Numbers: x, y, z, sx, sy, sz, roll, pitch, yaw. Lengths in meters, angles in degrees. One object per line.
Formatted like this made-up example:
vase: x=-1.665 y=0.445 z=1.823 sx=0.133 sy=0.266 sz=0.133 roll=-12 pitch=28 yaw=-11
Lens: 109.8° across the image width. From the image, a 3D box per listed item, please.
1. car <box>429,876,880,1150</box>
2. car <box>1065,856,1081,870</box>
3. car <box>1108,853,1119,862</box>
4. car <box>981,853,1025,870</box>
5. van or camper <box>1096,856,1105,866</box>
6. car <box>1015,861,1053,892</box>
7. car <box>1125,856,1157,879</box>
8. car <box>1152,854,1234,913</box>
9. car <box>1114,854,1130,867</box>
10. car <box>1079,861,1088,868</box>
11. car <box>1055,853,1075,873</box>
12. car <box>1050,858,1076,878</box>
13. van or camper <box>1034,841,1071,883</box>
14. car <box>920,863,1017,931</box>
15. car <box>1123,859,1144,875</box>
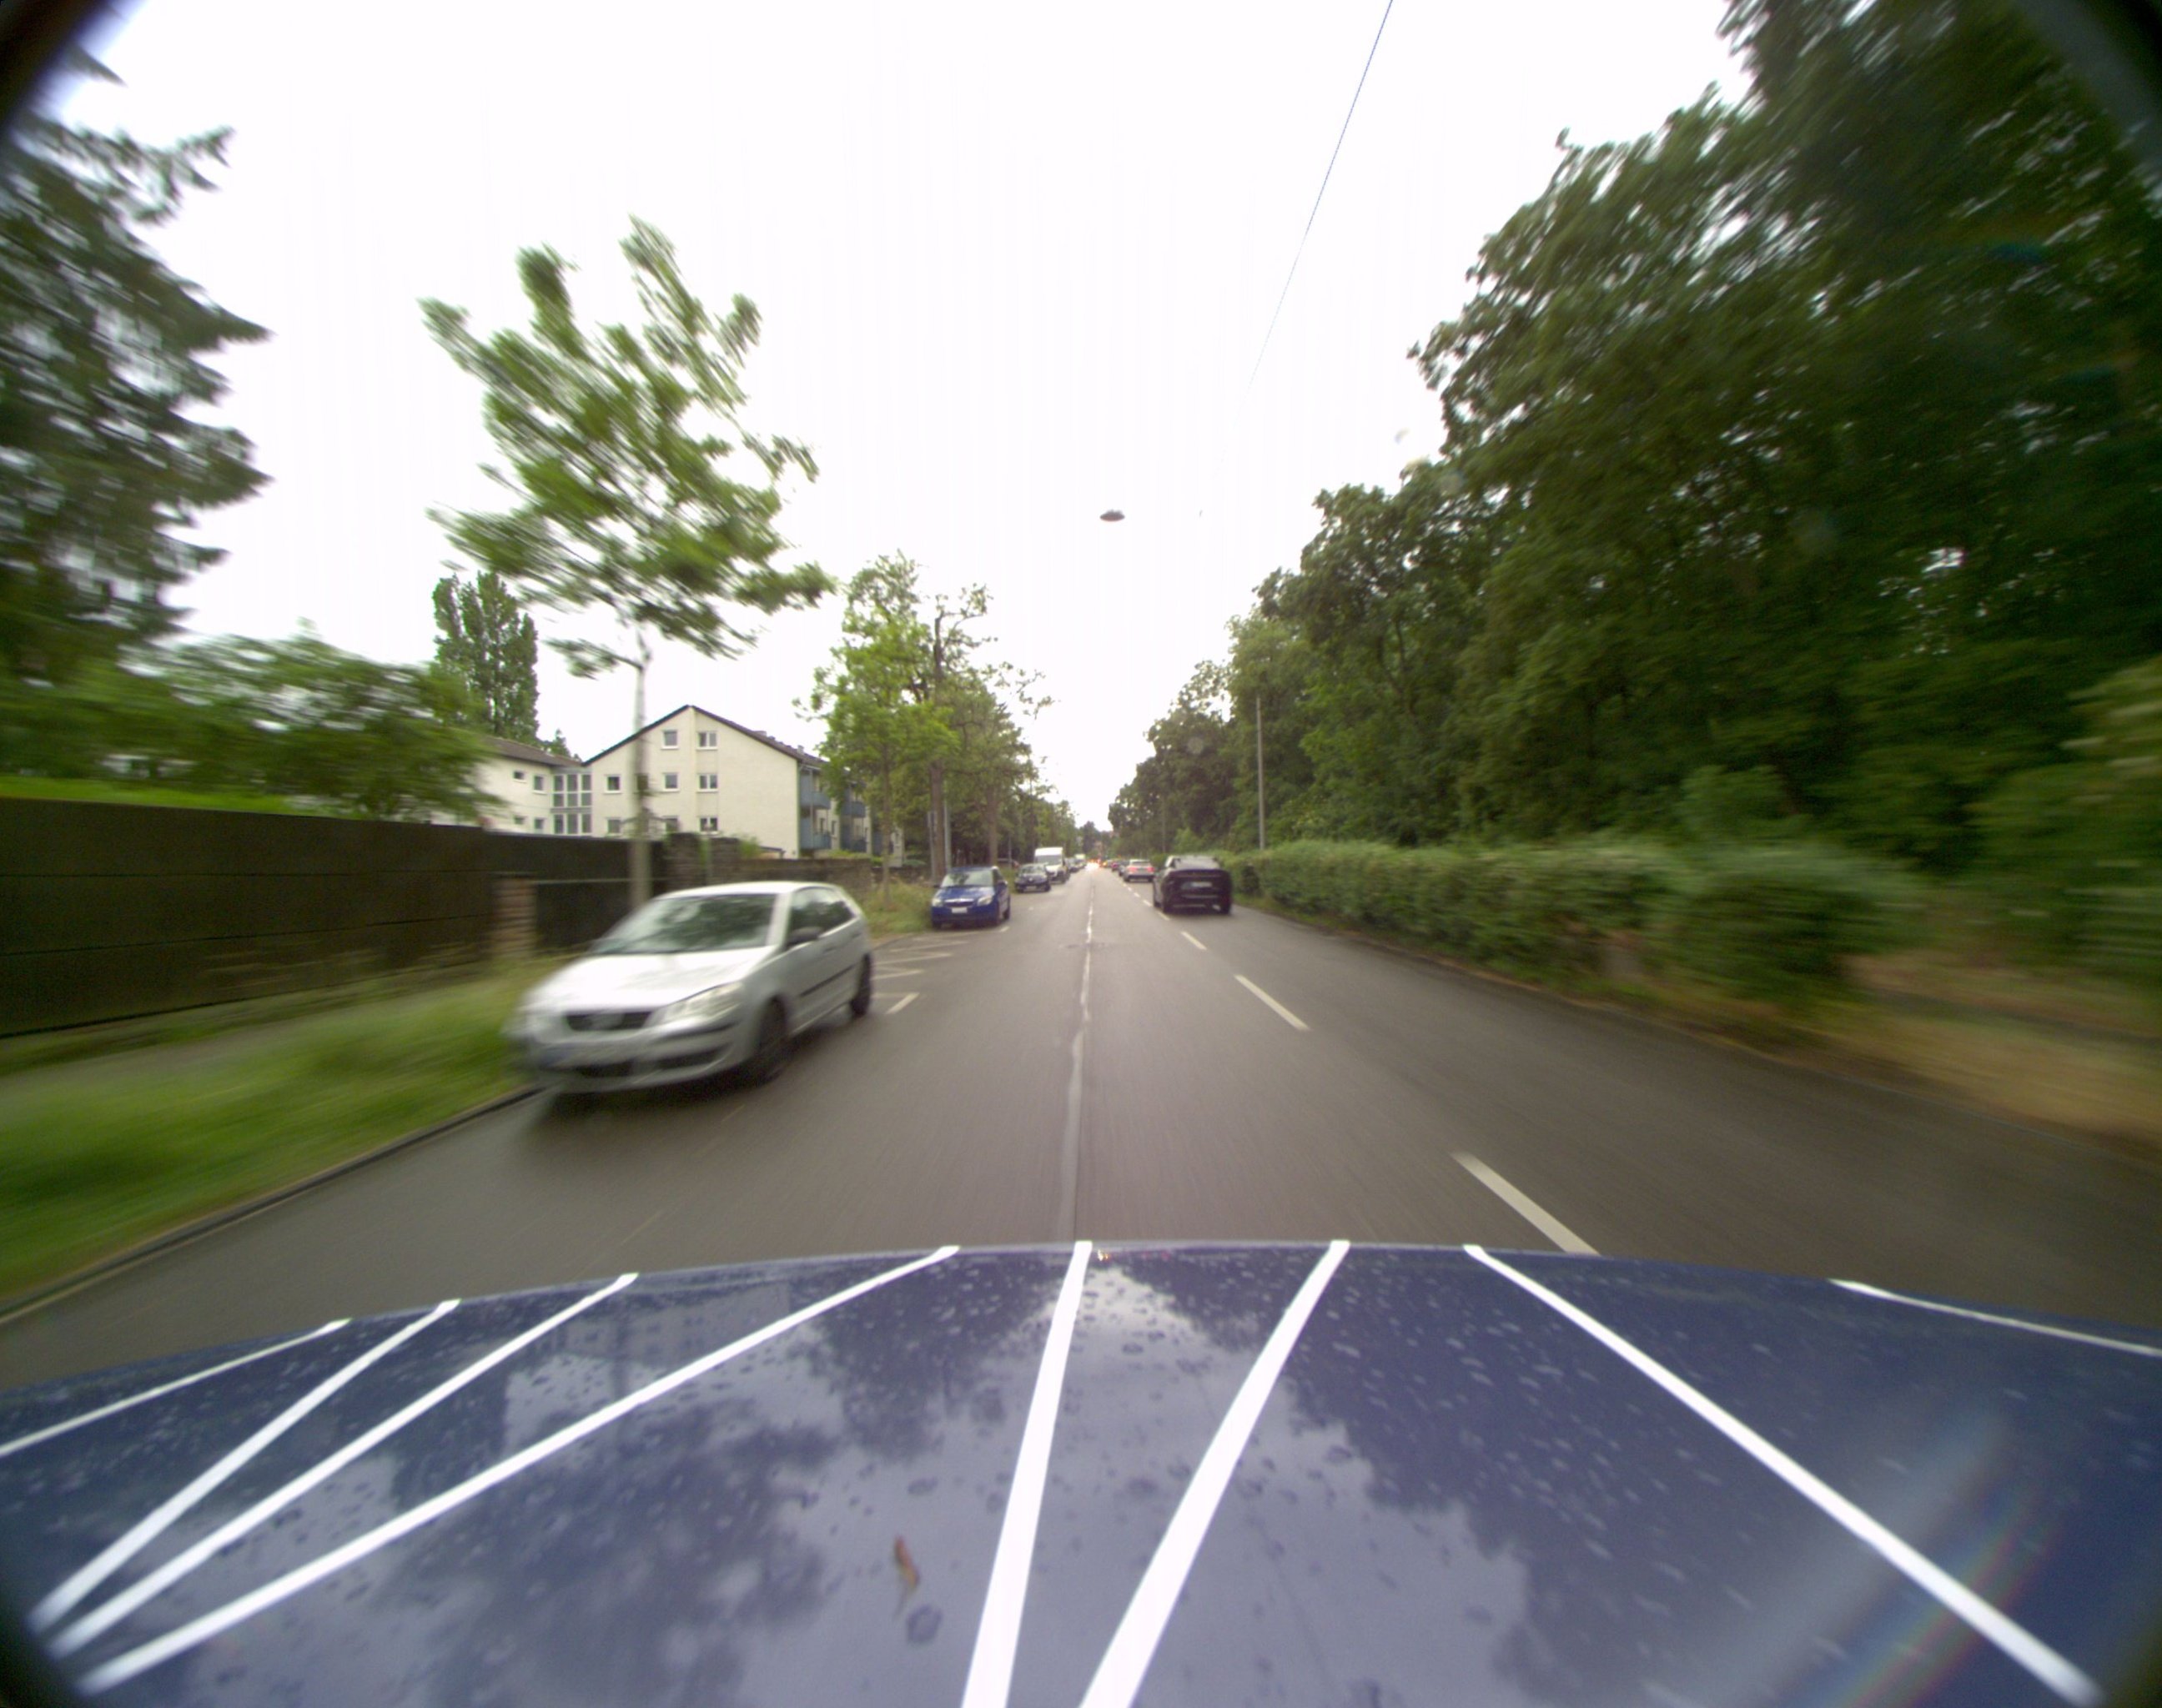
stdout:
car: x=-3.060 y=1.008 z=6.469 sx=1.622 sy=1.499 sz=3.835 roll=-3 pitch=-1 yaw=0
car: x=-1.043 y=1.169 z=96.556 sx=1.778 sy=1.712 sz=4.327 roll=-3 pitch=-1 yaw=2
car: x=5.829 y=0.599 z=136.326 sx=1.788 sy=1.471 sz=3.967 roll=-1 pitch=1 yaw=1
car: x=-8.158 y=0.749 z=79.913 sx=4.319 sy=1.672 sz=2.000 roll=1 pitch=1 yaw=2
van or camper: x=6.637 y=2.246 z=258.115 sx=2.862 sy=3.159 sz=6.852 roll=-3 pitch=-1 yaw=3
car: x=-2.430 y=1.155 z=40.141 sx=1.745 sy=1.470 sz=3.964 roll=-3 pitch=-1 yaw=-1
car: x=3.926 y=0.892 z=50.090 sx=1.860 sy=1.459 sz=4.447 roll=1 pitch=-1 yaw=2
car: x=3.148 y=0.809 z=22.119 sx=1.808 sy=1.537 sz=4.432 roll=0 pitch=-1 yaw=1
car: x=5.075 y=0.822 z=94.166 sx=1.734 sy=1.483 sz=4.001 roll=0 pitch=-1 yaw=1
car: x=0.486 y=2.124 z=150.625 sx=1.786 sy=1.387 sz=4.000 roll=-3 pitch=-1 yaw=0
car: x=-1.483 y=0.867 z=72.214 sx=1.819 sy=1.802 sz=4.283 roll=-3 pitch=-1 yaw=-1
car: x=-1.421 y=1.141 z=61.712 sx=1.629 sy=1.455 sz=3.809 roll=-3 pitch=-1 yaw=4
van or camper: x=-1.912 y=0.572 z=52.834 sx=2.083 sy=2.635 sz=5.347 roll=-3 pitch=-1 yaw=1
car: x=-2.818 y=1.035 z=19.870 sx=1.725 sy=1.496 sz=4.051 roll=-3 pitch=-1 yaw=2
car: x=4.653 y=1.125 z=67.255 sx=1.690 sy=1.348 sz=3.724 roll=0 pitch=-1 yaw=1
